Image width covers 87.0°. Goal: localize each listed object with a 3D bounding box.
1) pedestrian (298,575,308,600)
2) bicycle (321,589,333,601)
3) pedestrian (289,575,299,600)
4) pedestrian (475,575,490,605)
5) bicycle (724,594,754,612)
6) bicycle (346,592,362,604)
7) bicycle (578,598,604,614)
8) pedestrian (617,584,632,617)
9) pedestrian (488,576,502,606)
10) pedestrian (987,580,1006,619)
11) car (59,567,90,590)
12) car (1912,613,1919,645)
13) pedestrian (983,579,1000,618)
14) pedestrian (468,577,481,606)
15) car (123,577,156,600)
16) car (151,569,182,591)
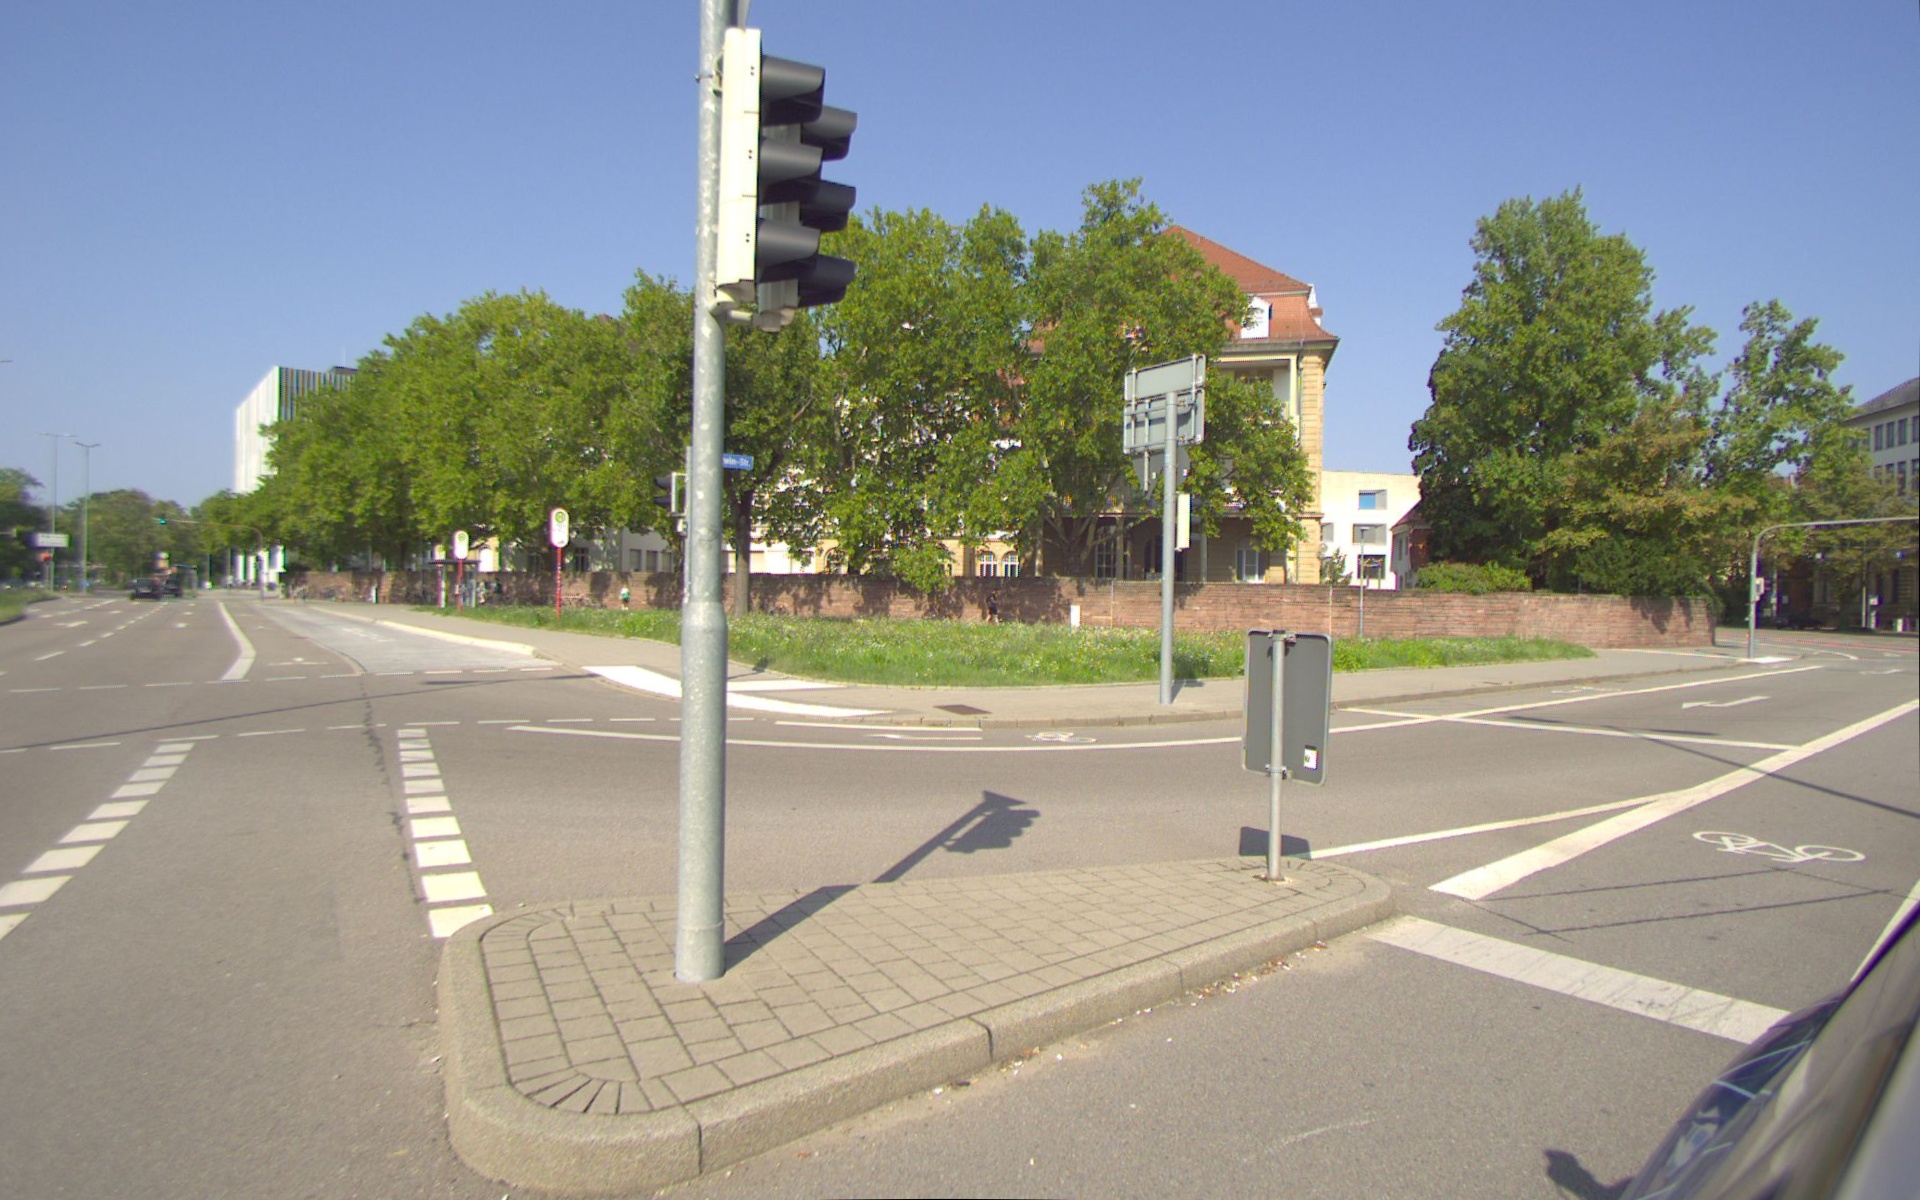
[{"bbox_3d":[-47.454,-0.896,73.097,0.477,1.762,0.504,1,-2,-41],"label":"pedestrian"},{"bbox_3d":[-48.419,-0.385,77.439,1.545,0.846,0.427,2,0,45],"label":"bicycle"},{"bbox_3d":[-47.904,-0.899,72.793,0.477,1.762,0.504,1,-2,-41],"label":"pedestrian"},{"bbox_3d":[-26.900,-0.578,57.000,0.590,1.673,0.513,-2,-2,33],"label":"pedestrian"},{"bbox_3d":[-11.076,0.156,50.669,1.534,0.846,0.430,1,0,26],"label":"bicycle"},{"bbox_3d":[-43.153,-0.142,72.080,1.542,0.846,0.428,1,0,38],"label":"bicycle"},{"bbox_3d":[-20.177,0.341,55.358,1.536,0.846,0.429,1,0,29],"label":"bicycle"},{"bbox_3d":[-17.364,0.021,52.418,0.589,1.673,0.478,-1,-2,29],"label":"pedestrian"},{"bbox_3d":[-26.587,-0.527,57.875,0.590,1.673,0.477,-2,-2,33],"label":"pedestrian"},{"bbox_3d":[1.616,-0.039,44.732,0.709,1.704,0.591,1,0,19],"label":"pedestrian"},{"bbox_3d":[-85.884,-2.085,98.160,3.986,2.040,1.889,-2,-2,44],"label":"car"},{"bbox_3d":[50.282,1.509,50.583,1.970,1.630,4.230,-1,0,13],"label":"car"},{"bbox_3d":[1.370,-0.054,44.182,0.587,1.673,0.480,-1,-2,20],"label":"pedestrian"},{"bbox_3d":[-28.623,-0.504,59.659,0.590,1.673,0.477,-2,-2,33],"label":"pedestrian"},{"bbox_3d":[-59.242,-0.830,73.050,1.682,1.594,3.993,1,1,-41],"label":"car"},{"bbox_3d":[-79.040,-1.954,100.813,3.986,2.040,1.889,-2,-2,44],"label":"car"}]
